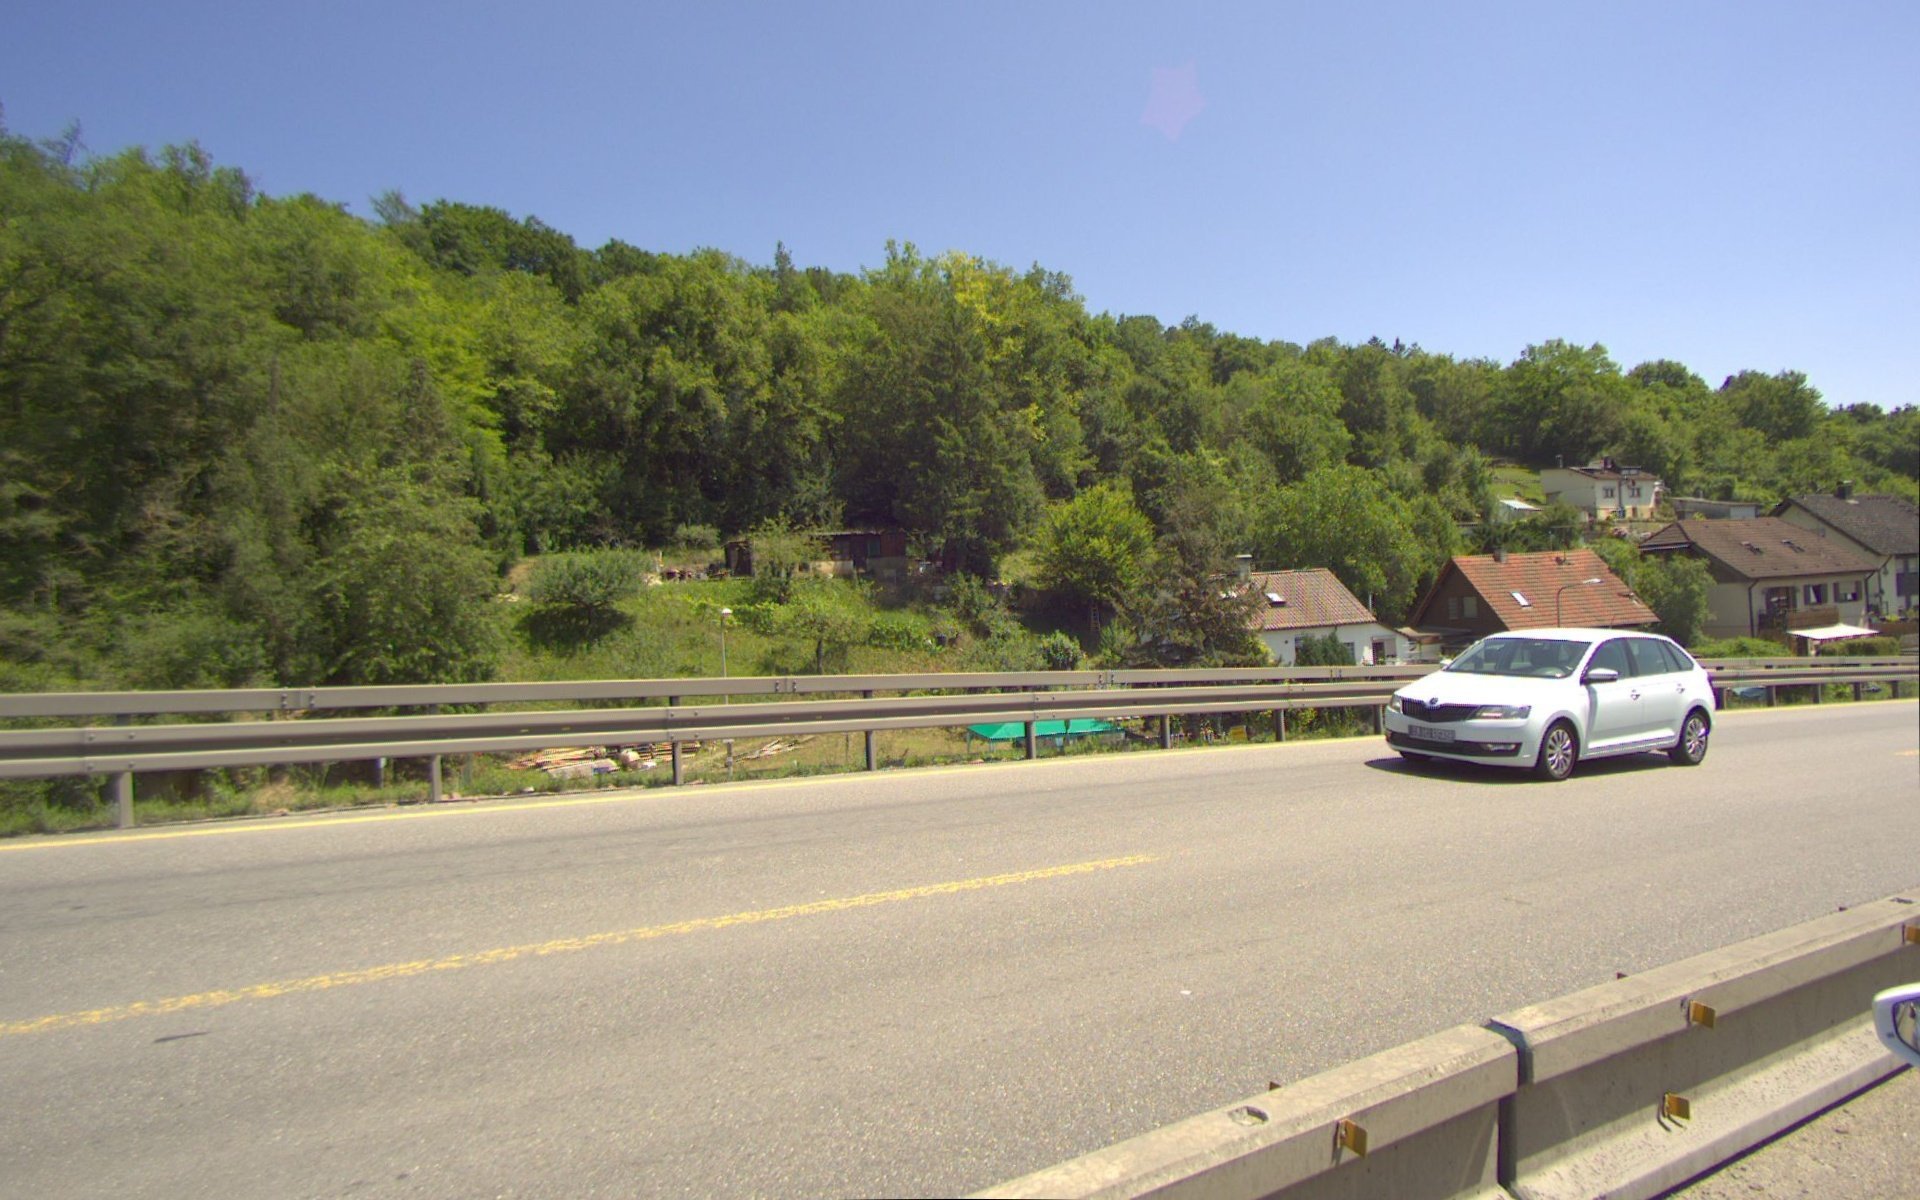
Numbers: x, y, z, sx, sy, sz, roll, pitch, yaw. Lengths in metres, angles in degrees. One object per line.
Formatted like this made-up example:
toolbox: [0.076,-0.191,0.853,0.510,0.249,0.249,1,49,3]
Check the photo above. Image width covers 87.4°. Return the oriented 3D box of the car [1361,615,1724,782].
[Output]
car: [6.349,0.968,10.867,3.953,1.512,1.691,2,-2,-30]
